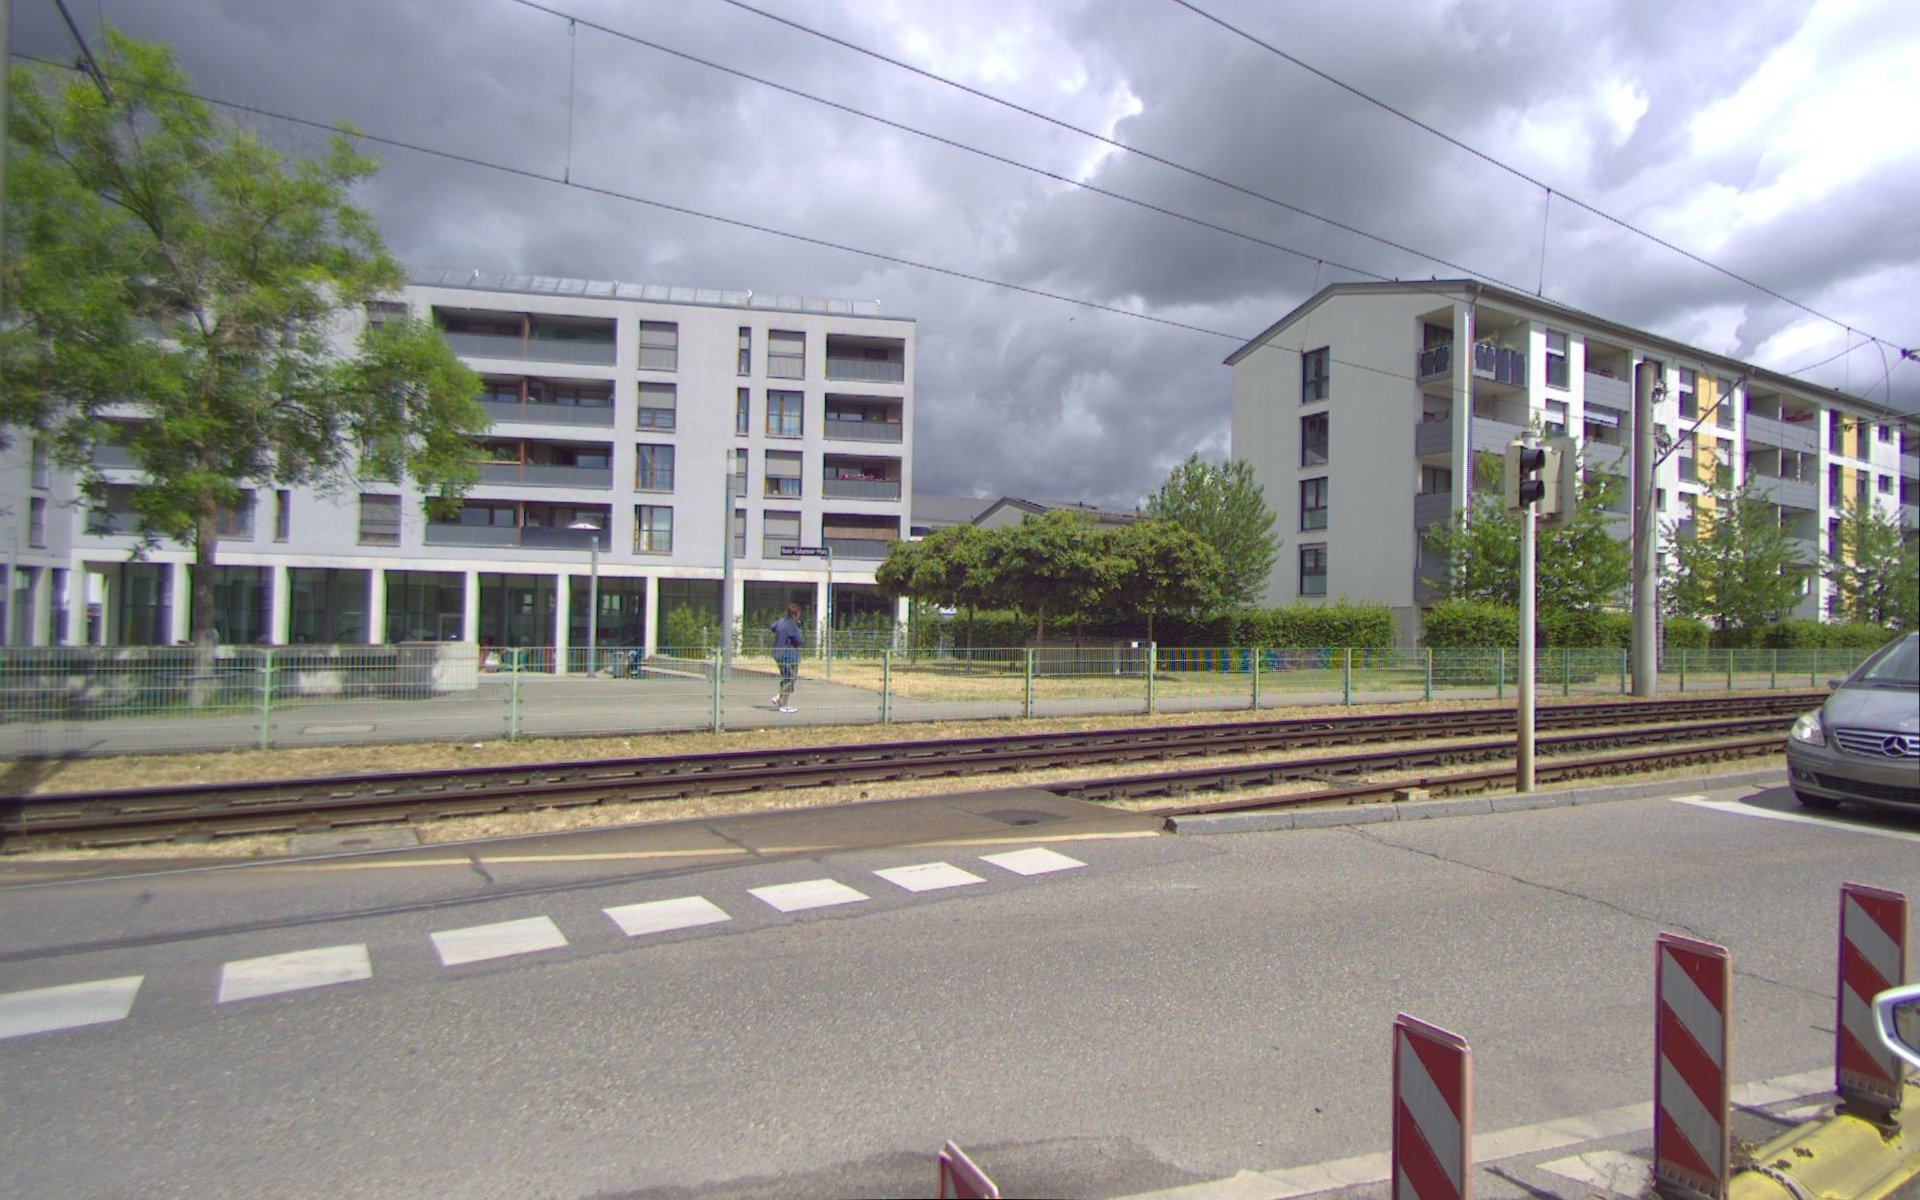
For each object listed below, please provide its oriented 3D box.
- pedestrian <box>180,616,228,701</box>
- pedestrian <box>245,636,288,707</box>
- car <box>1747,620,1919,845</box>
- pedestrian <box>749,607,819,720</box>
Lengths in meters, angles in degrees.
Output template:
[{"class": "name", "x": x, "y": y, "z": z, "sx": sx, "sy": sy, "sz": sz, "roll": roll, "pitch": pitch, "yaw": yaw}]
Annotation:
[{"class": "pedestrian", "x": -14.304, "y": 1.099, "z": 19.016, "sx": 0.519, "sy": 1.567, "sz": 0.545, "roll": -1, "pitch": -2, "yaw": -10}, {"class": "pedestrian", "x": -12.730, "y": 1.297, "z": 18.441, "sx": 0.449, "sy": 1.263, "sz": 0.545, "roll": -1, "pitch": -2, "yaw": -10}, {"class": "car", "x": 8.856, "y": 1.041, "z": 8.635, "sx": 4.080, "sy": 1.674, "sz": 1.795, "roll": 1, "pitch": -3, "yaw": -28}, {"class": "pedestrian", "x": -2.738, "y": 0.962, "z": 15.592, "sx": 0.858, "sy": 1.683, "sz": 0.747, "roll": -1, "pitch": -2, "yaw": -27}]
